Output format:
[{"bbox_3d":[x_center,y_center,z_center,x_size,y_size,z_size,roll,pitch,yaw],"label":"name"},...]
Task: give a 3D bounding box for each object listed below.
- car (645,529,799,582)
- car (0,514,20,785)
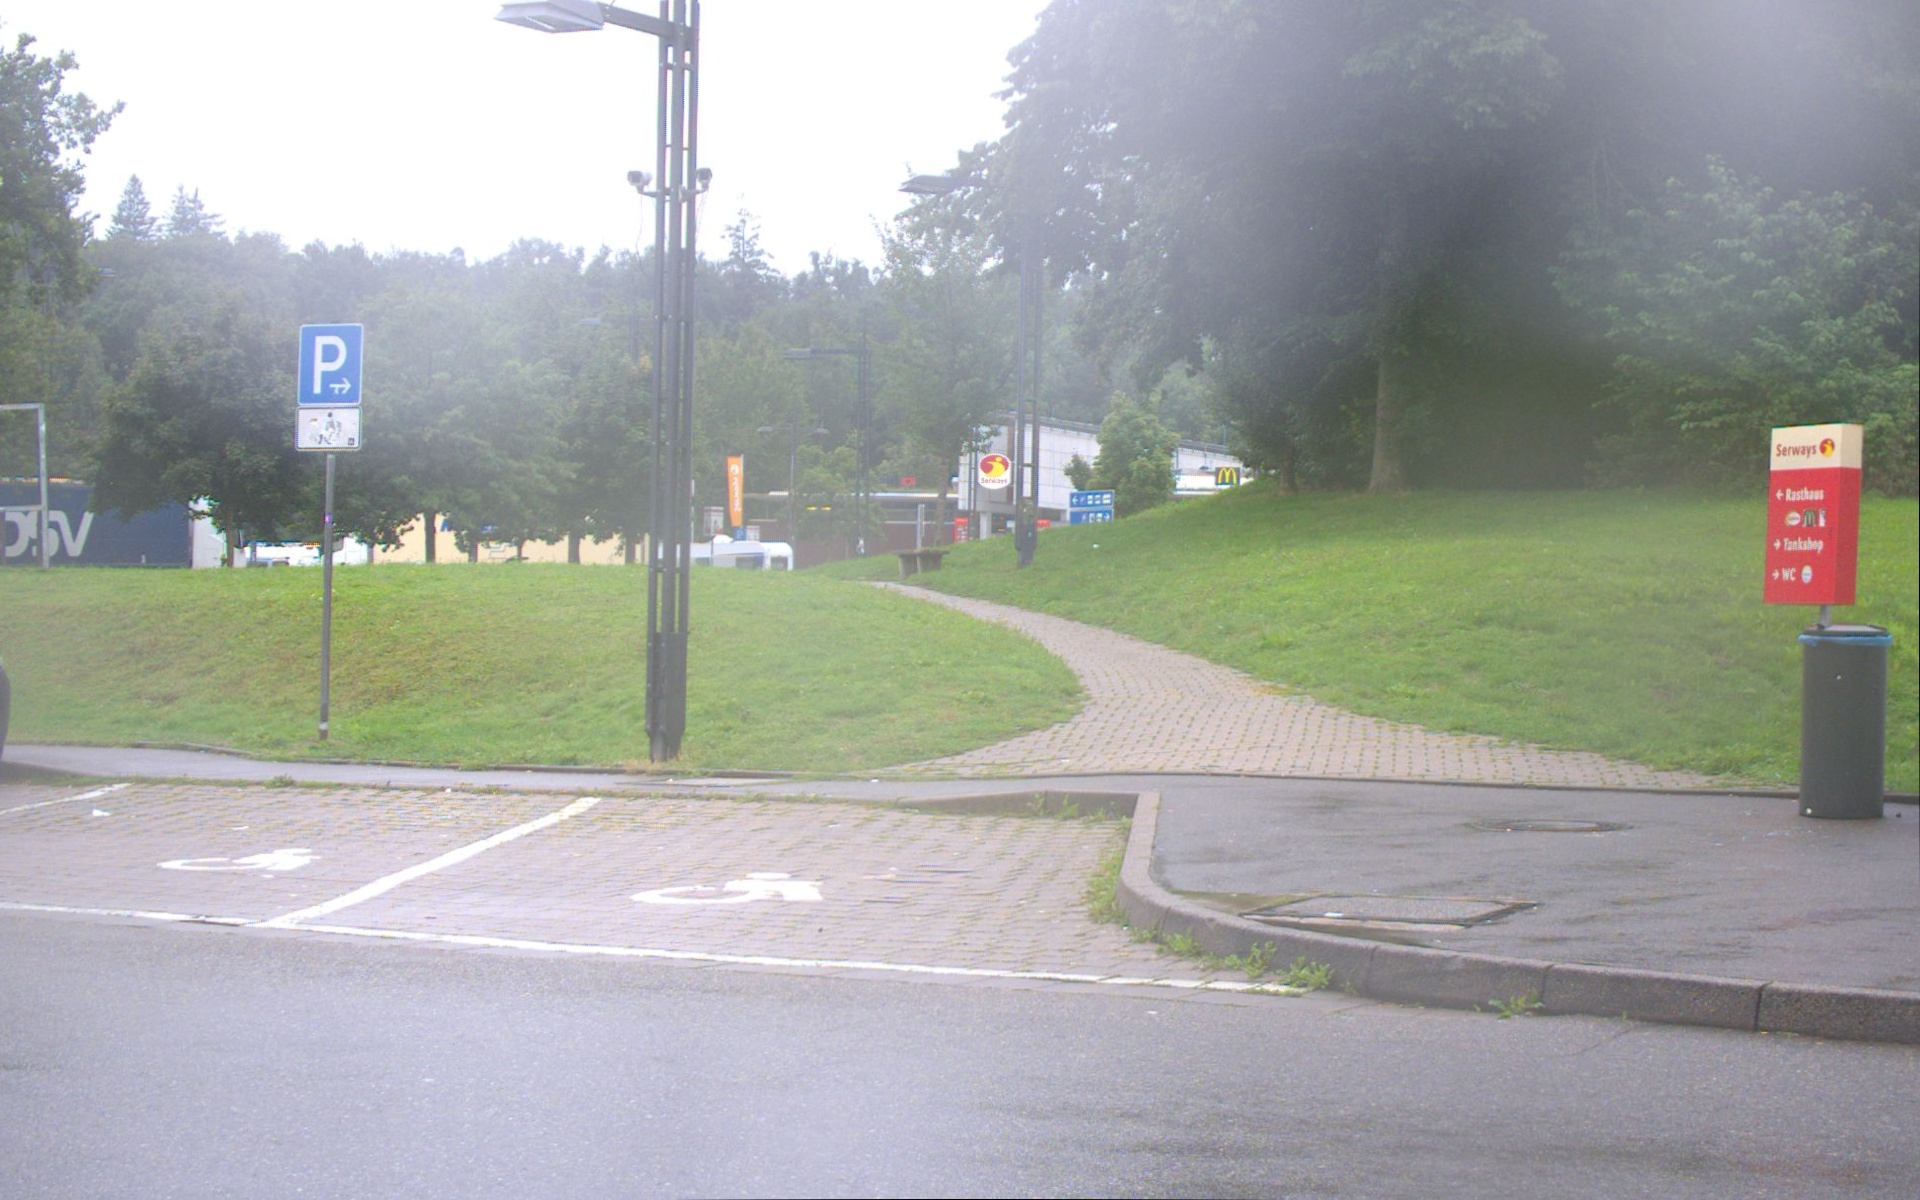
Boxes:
[{"bbox_3d":[-9.255,-1.739,133.789,5.429,2.007,2.453,1,1,20],"label":"car"},{"bbox_3d":[-7.764,0.373,21.461,1.885,1.821,4.411,0,1,11],"label":"car"}]
